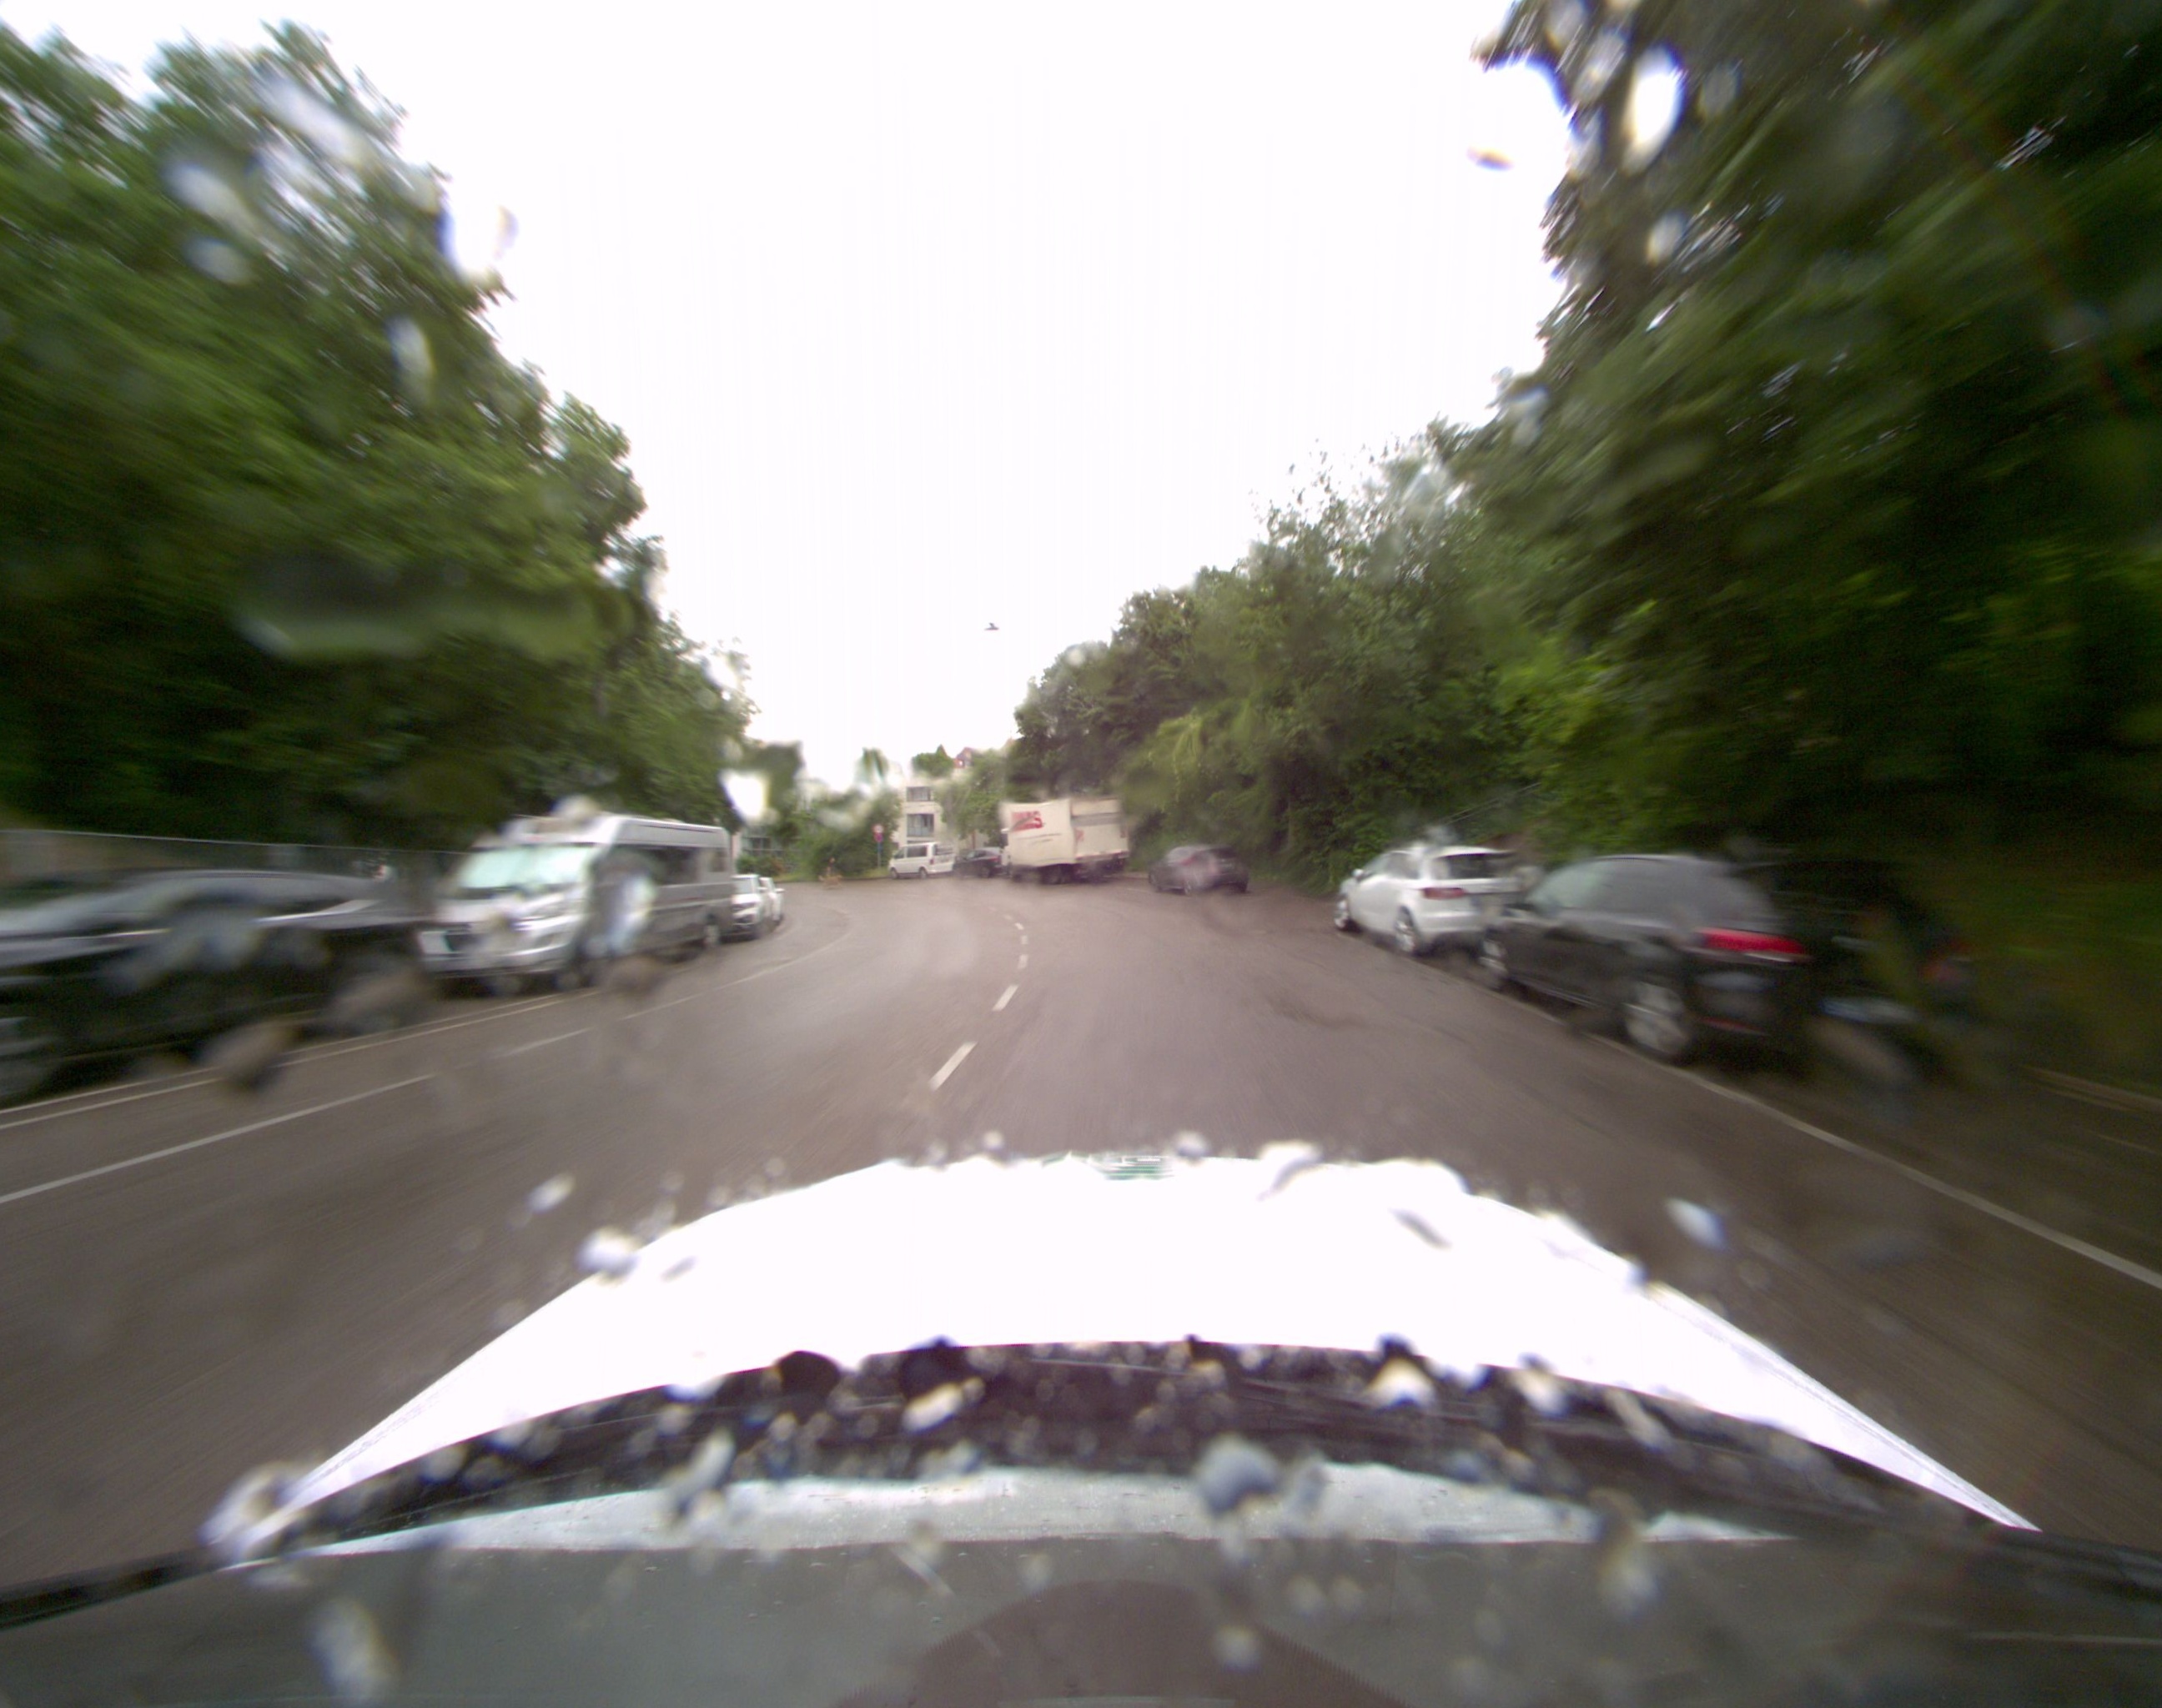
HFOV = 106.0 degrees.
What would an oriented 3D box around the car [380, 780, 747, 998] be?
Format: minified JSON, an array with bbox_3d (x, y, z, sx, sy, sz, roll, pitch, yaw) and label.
[{"bbox_3d":[-7.745,0.535,13.312,2.069,2.550,6.338,-5,-2,-3],"label":"car"}]

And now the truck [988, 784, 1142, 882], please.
[{"bbox_3d":[-0.963,-0.804,35.580,3.025,3.573,8.260,-7,2,-28],"label":"truck"}]

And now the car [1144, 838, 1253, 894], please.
[{"bbox_3d":[3.451,0.312,24.764,1.724,1.444,4.103,-4,1,-15],"label":"car"}]

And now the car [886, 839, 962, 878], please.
[{"bbox_3d":[-9.023,0.283,46.491,4.632,2.013,1.894,-2,0,45],"label":"car"}]

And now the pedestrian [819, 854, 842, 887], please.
[{"bbox_3d":[-13.753,0.913,44.668,0.922,1.661,0.803,-5,3,-8],"label":"pedestrian"}]

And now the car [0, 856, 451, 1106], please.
[{"bbox_3d":[-7.921,0.870,6.580,1.984,1.619,4.402,-1,-1,5],"label":"car"}]

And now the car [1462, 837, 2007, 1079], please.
[{"bbox_3d":[4.854,0.594,6.893,1.652,1.424,3.974,-1,1,4],"label":"car"}]

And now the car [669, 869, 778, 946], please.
[{"bbox_3d":[-8.730,1.247,20.233,1.807,1.583,4.003,-4,-1,-15],"label":"car"}]

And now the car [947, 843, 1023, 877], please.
[{"bbox_3d":[-4.955,0.331,41.789,1.733,1.555,4.227,-7,3,-39],"label":"car"}]

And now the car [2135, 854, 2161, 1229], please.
[{"bbox_3d":[4.598,0.736,1.116,1.582,1.389,3.829,1,1,6],"label":"car"}]

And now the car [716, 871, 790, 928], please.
[{"bbox_3d":[-10.173,1.354,25.484,1.757,1.456,4.022,-5,1,-18],"label":"car"}]

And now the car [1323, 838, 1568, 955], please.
[{"bbox_3d":[5.148,0.488,12.174,1.750,1.400,4.094,-2,1,-1],"label":"car"}]
